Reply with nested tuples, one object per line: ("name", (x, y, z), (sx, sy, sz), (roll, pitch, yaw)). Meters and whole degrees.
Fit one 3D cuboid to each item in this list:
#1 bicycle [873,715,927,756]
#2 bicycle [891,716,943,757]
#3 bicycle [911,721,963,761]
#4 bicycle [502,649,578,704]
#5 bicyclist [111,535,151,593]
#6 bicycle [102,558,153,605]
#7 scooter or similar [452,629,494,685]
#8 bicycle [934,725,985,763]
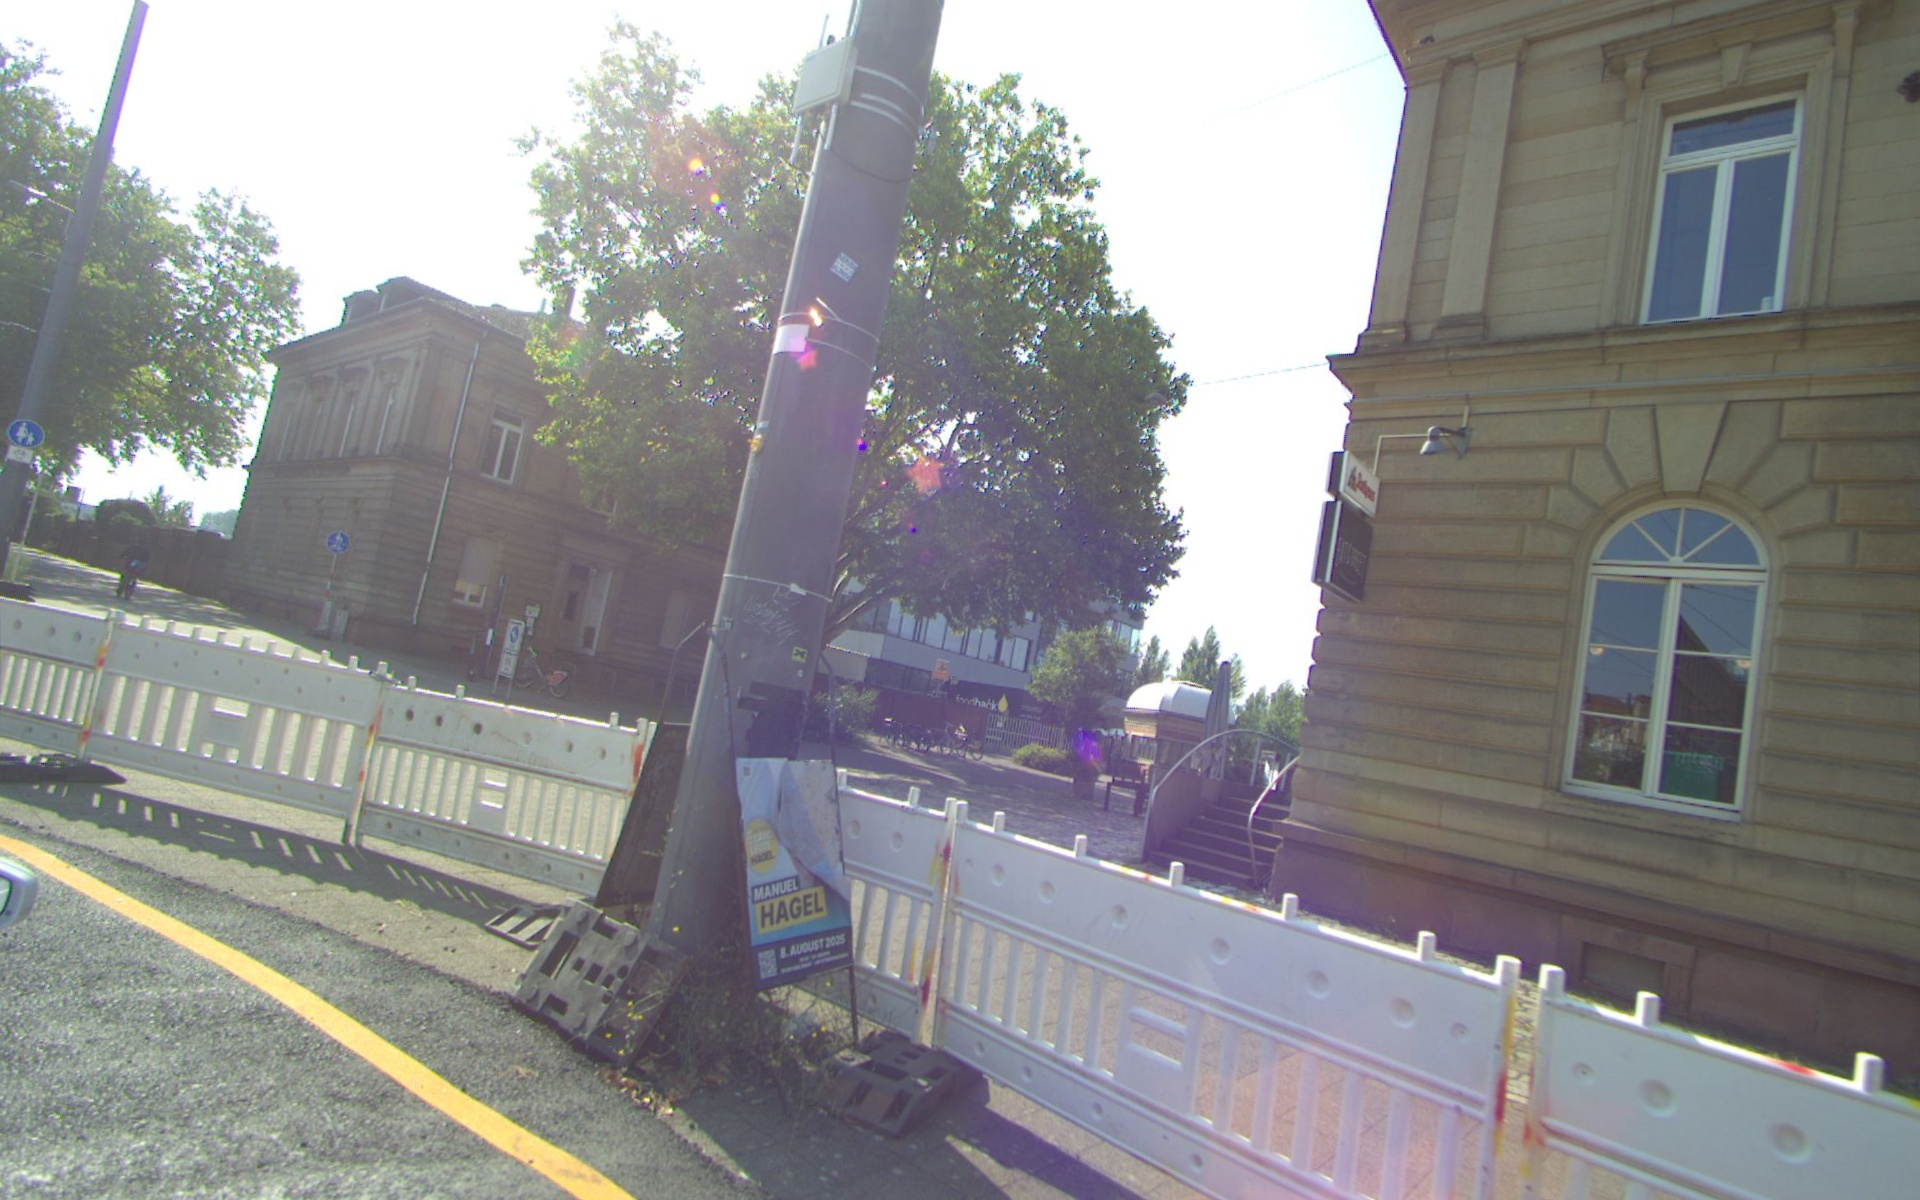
("bicycle", (-2.120, 4.742, 35.374), (1.830, 1.099, 0.492), (6, -6, 39))
("bicycle", (-1.551, 4.901, 36.159), (1.830, 1.099, 0.492), (6, -6, 39))
("bicycle", (-0.855, 5.153, 36.885), (1.830, 1.099, 0.492), (6, -6, 39))
("bicycle", (-10.684, 1.934, 25.607), (1.785, 1.008, 0.494), (11, -4, 23))
("bicyclist", (-23.701, -1.032, 28.750), (0.587, 1.553, 0.470), (7, -6, 36))
("bicycle", (-23.744, -0.534, 28.689), (1.828, 1.099, 0.493), (7, -6, 36))
("scooter or similar", (-12.190, 1.417, 25.182), (0.425, 1.240, 1.160), (14, -6, -41))
("bicycle", (-0.021, 5.441, 38.028), (1.830, 1.099, 0.533), (6, -6, 39))
